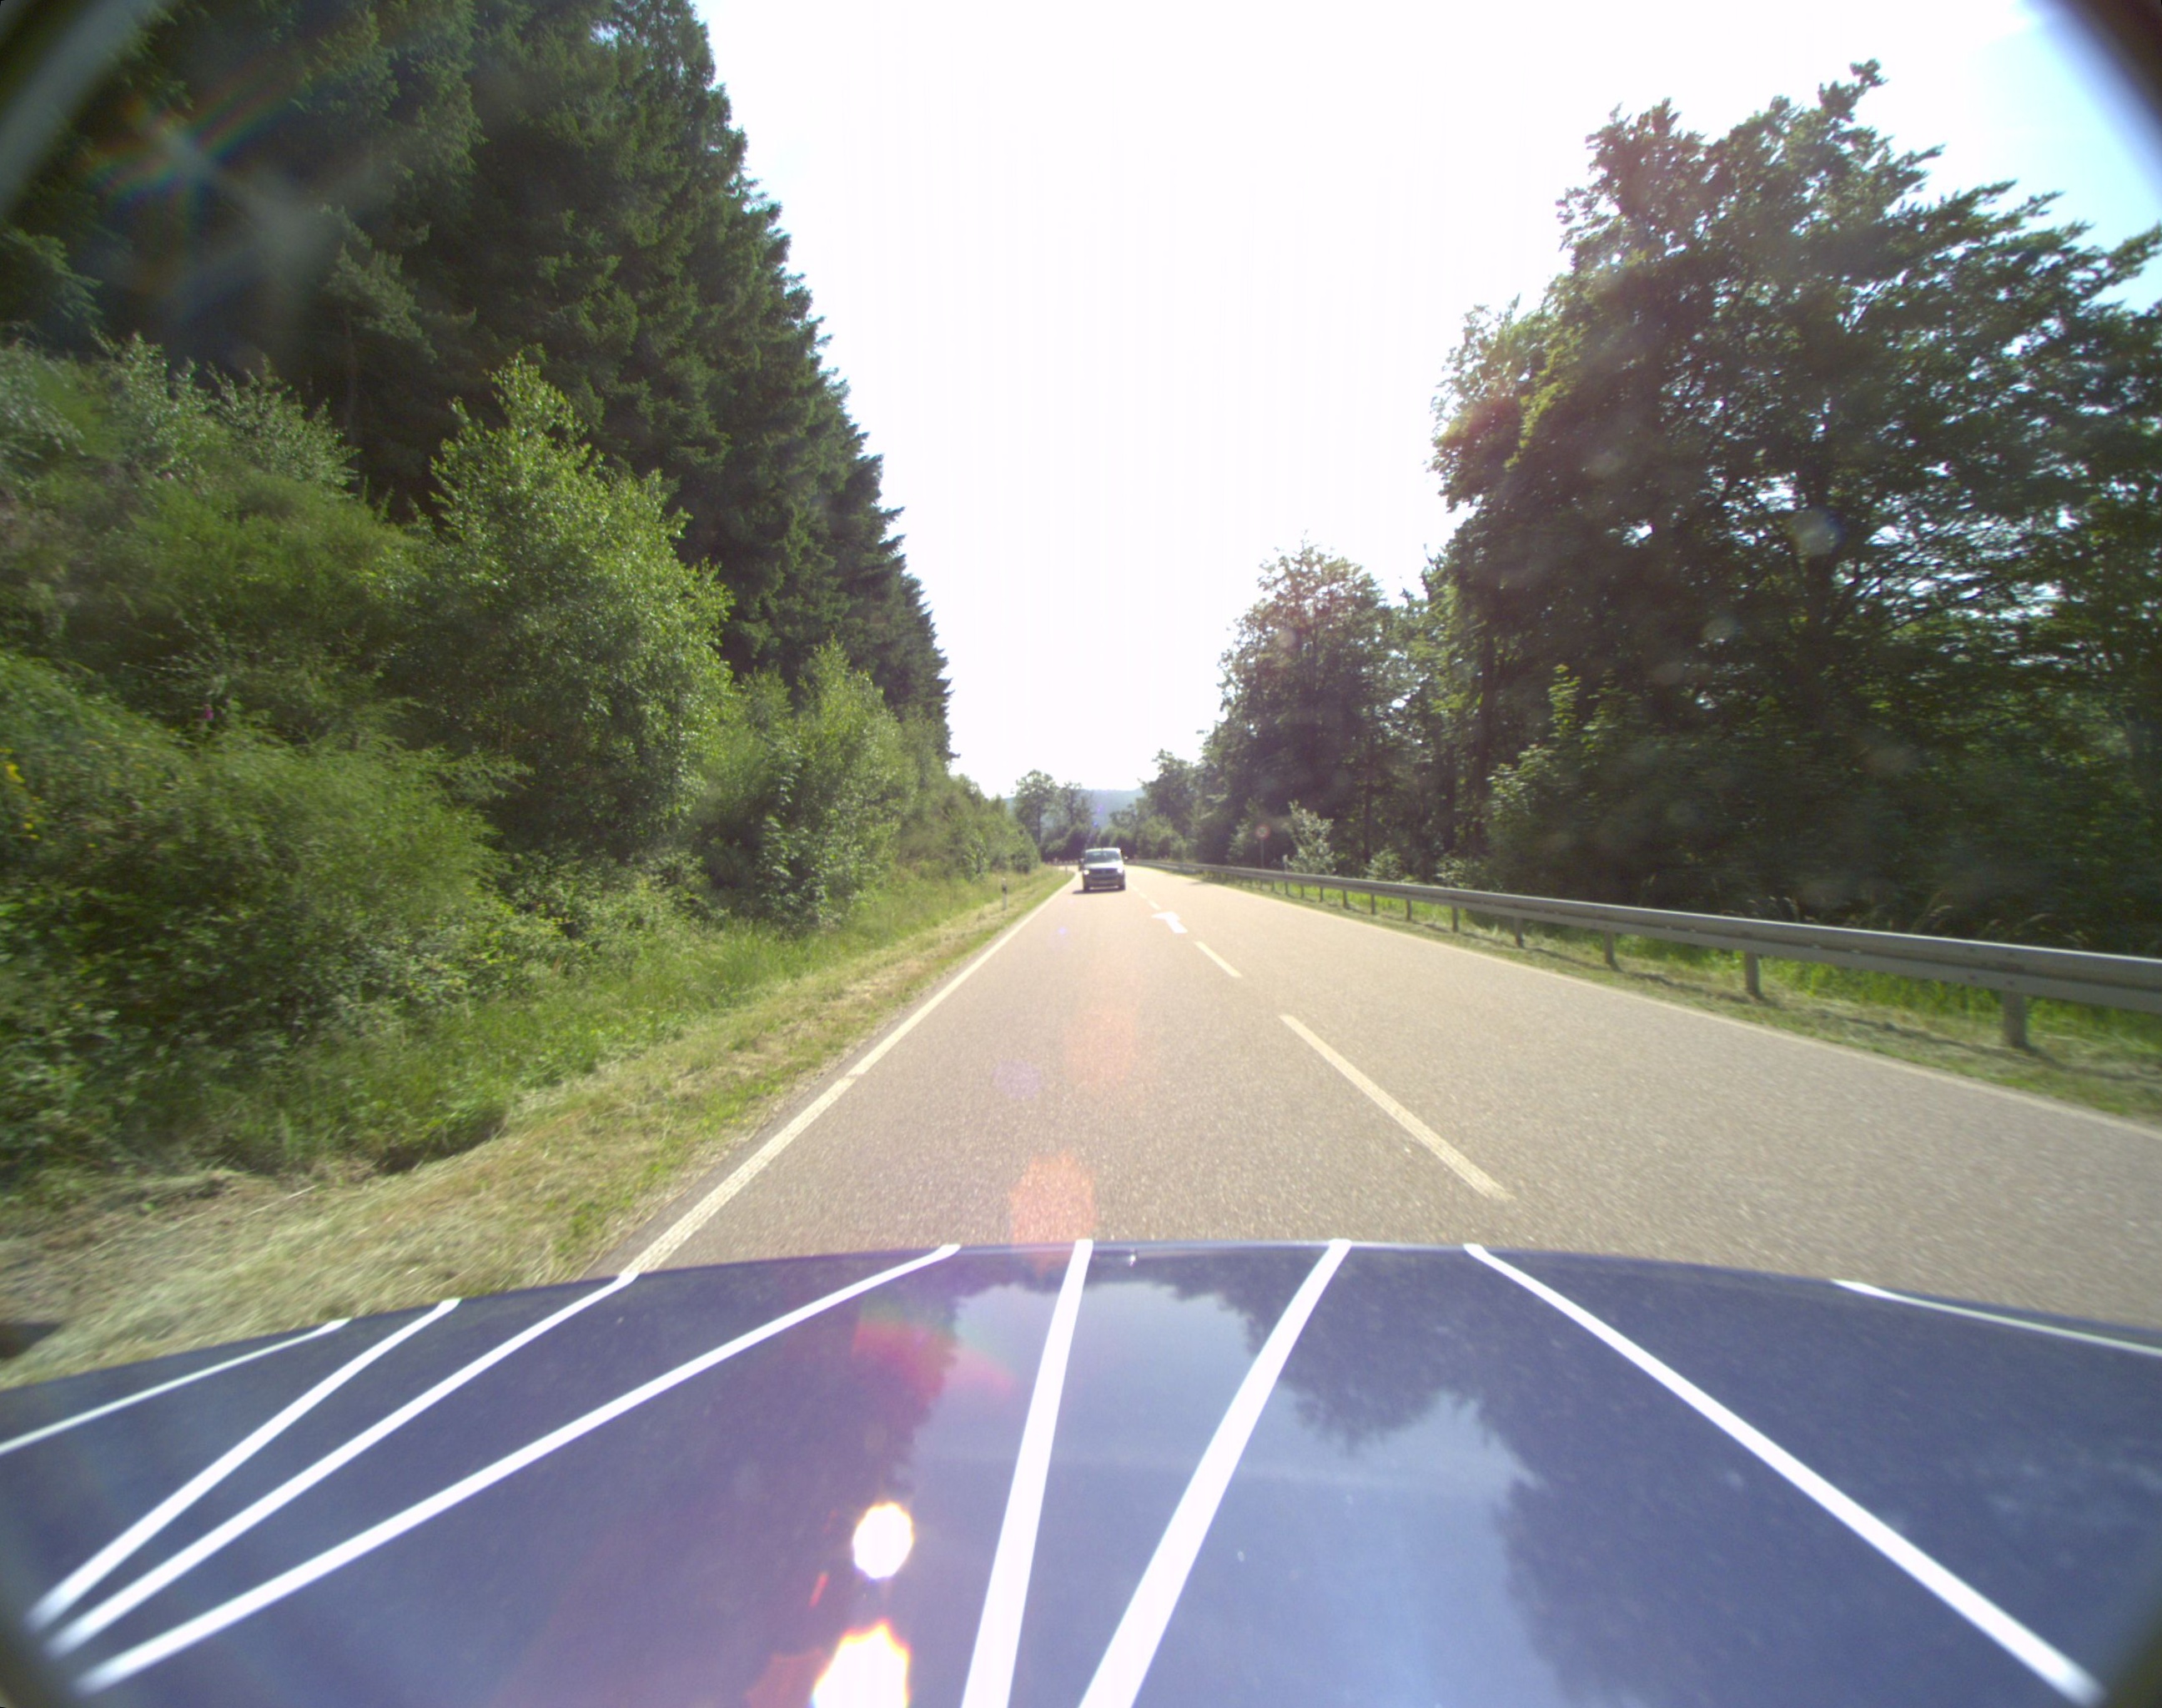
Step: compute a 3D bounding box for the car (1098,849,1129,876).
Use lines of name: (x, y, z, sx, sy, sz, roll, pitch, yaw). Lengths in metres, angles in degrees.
car: (2.458, 0.616, 58.378, 2.137, 1.825, 4.722, -4, 0, 1)

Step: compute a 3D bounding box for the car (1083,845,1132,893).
car: (1.243, 0.635, 35.095, 1.990, 1.899, 4.760, -5, 0, 2)

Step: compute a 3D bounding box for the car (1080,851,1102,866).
car: (1.174, 0.559, 93.751, 2.000, 1.718, 3.997, -4, 1, -8)
